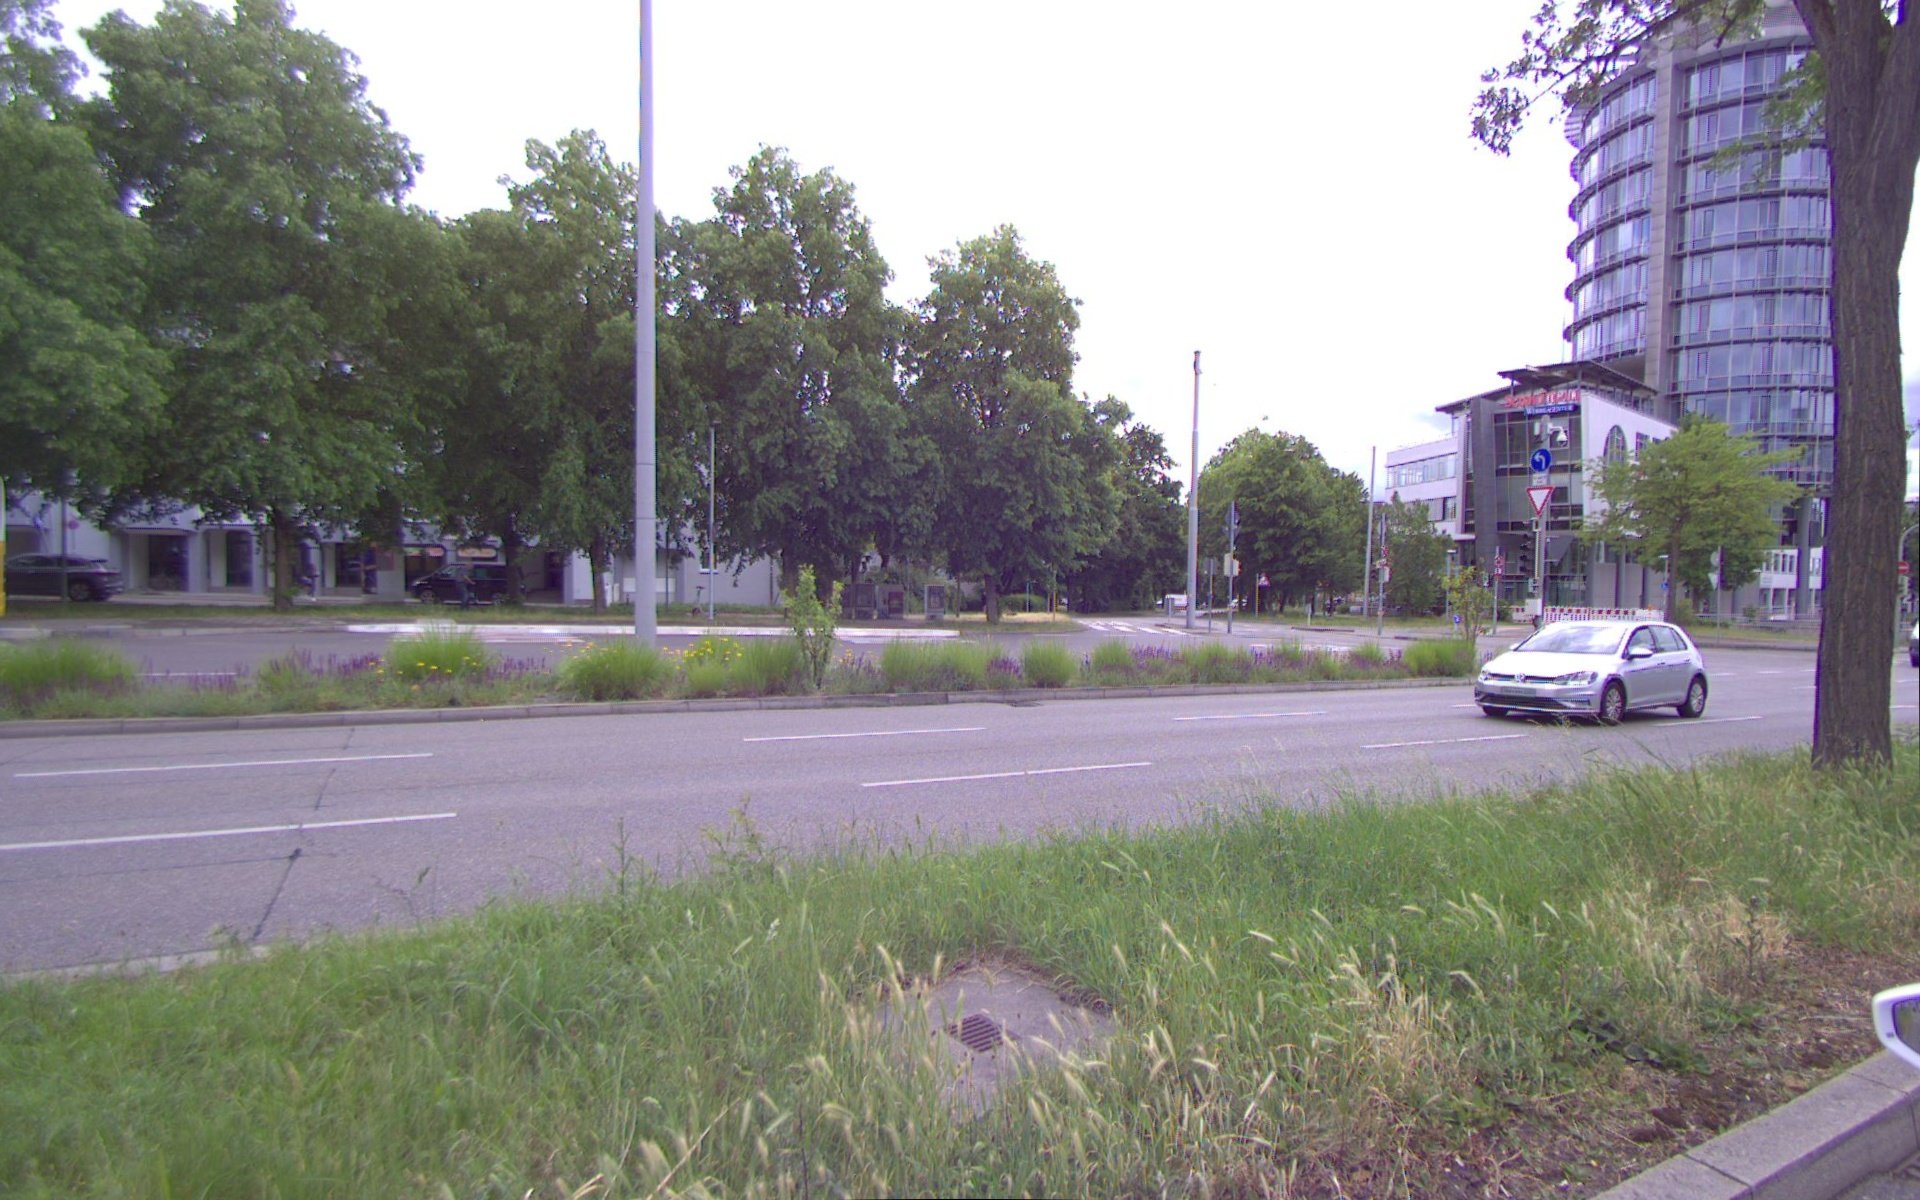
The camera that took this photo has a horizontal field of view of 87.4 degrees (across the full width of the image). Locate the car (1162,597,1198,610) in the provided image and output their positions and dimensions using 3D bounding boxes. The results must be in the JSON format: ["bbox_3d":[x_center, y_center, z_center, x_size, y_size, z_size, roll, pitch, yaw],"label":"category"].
[{"bbox_3d":[38.292,0.637,174.934,5.881,2.040,1.995,1,1,-13],"label":"car"}]

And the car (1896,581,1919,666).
[{"bbox_3d":[33.219,0.813,33.141,5.812,2.669,1.981,1,3,-33],"label":"car"}]

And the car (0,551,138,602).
[{"bbox_3d":[-30.935,-0.784,34.175,4.190,1.602,1.987,1,1,-26],"label":"car"}]

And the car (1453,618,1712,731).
[{"bbox_3d":[9.319,1.013,14.948,4.090,1.463,1.743,1,-1,-33],"label":"car"}]

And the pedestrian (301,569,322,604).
[{"bbox_3d":[-29.052,-0.597,45.028,0.658,1.568,0.656,1,1,-21],"label":"pedestrian"}]

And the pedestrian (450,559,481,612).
[{"bbox_3d":[-16.107,-0.465,32.731,0.847,1.711,0.453,1,1,-30],"label":"pedestrian"}]

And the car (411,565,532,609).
[{"bbox_3d":[-22.645,-0.596,46.762,4.736,1.857,1.994,1,1,-15],"label":"car"}]

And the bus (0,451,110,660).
[{"bbox_3d":[-20.525,-0.900,16.281,9.778,3.502,3.021,1,2,-26],"label":"bus"}]
